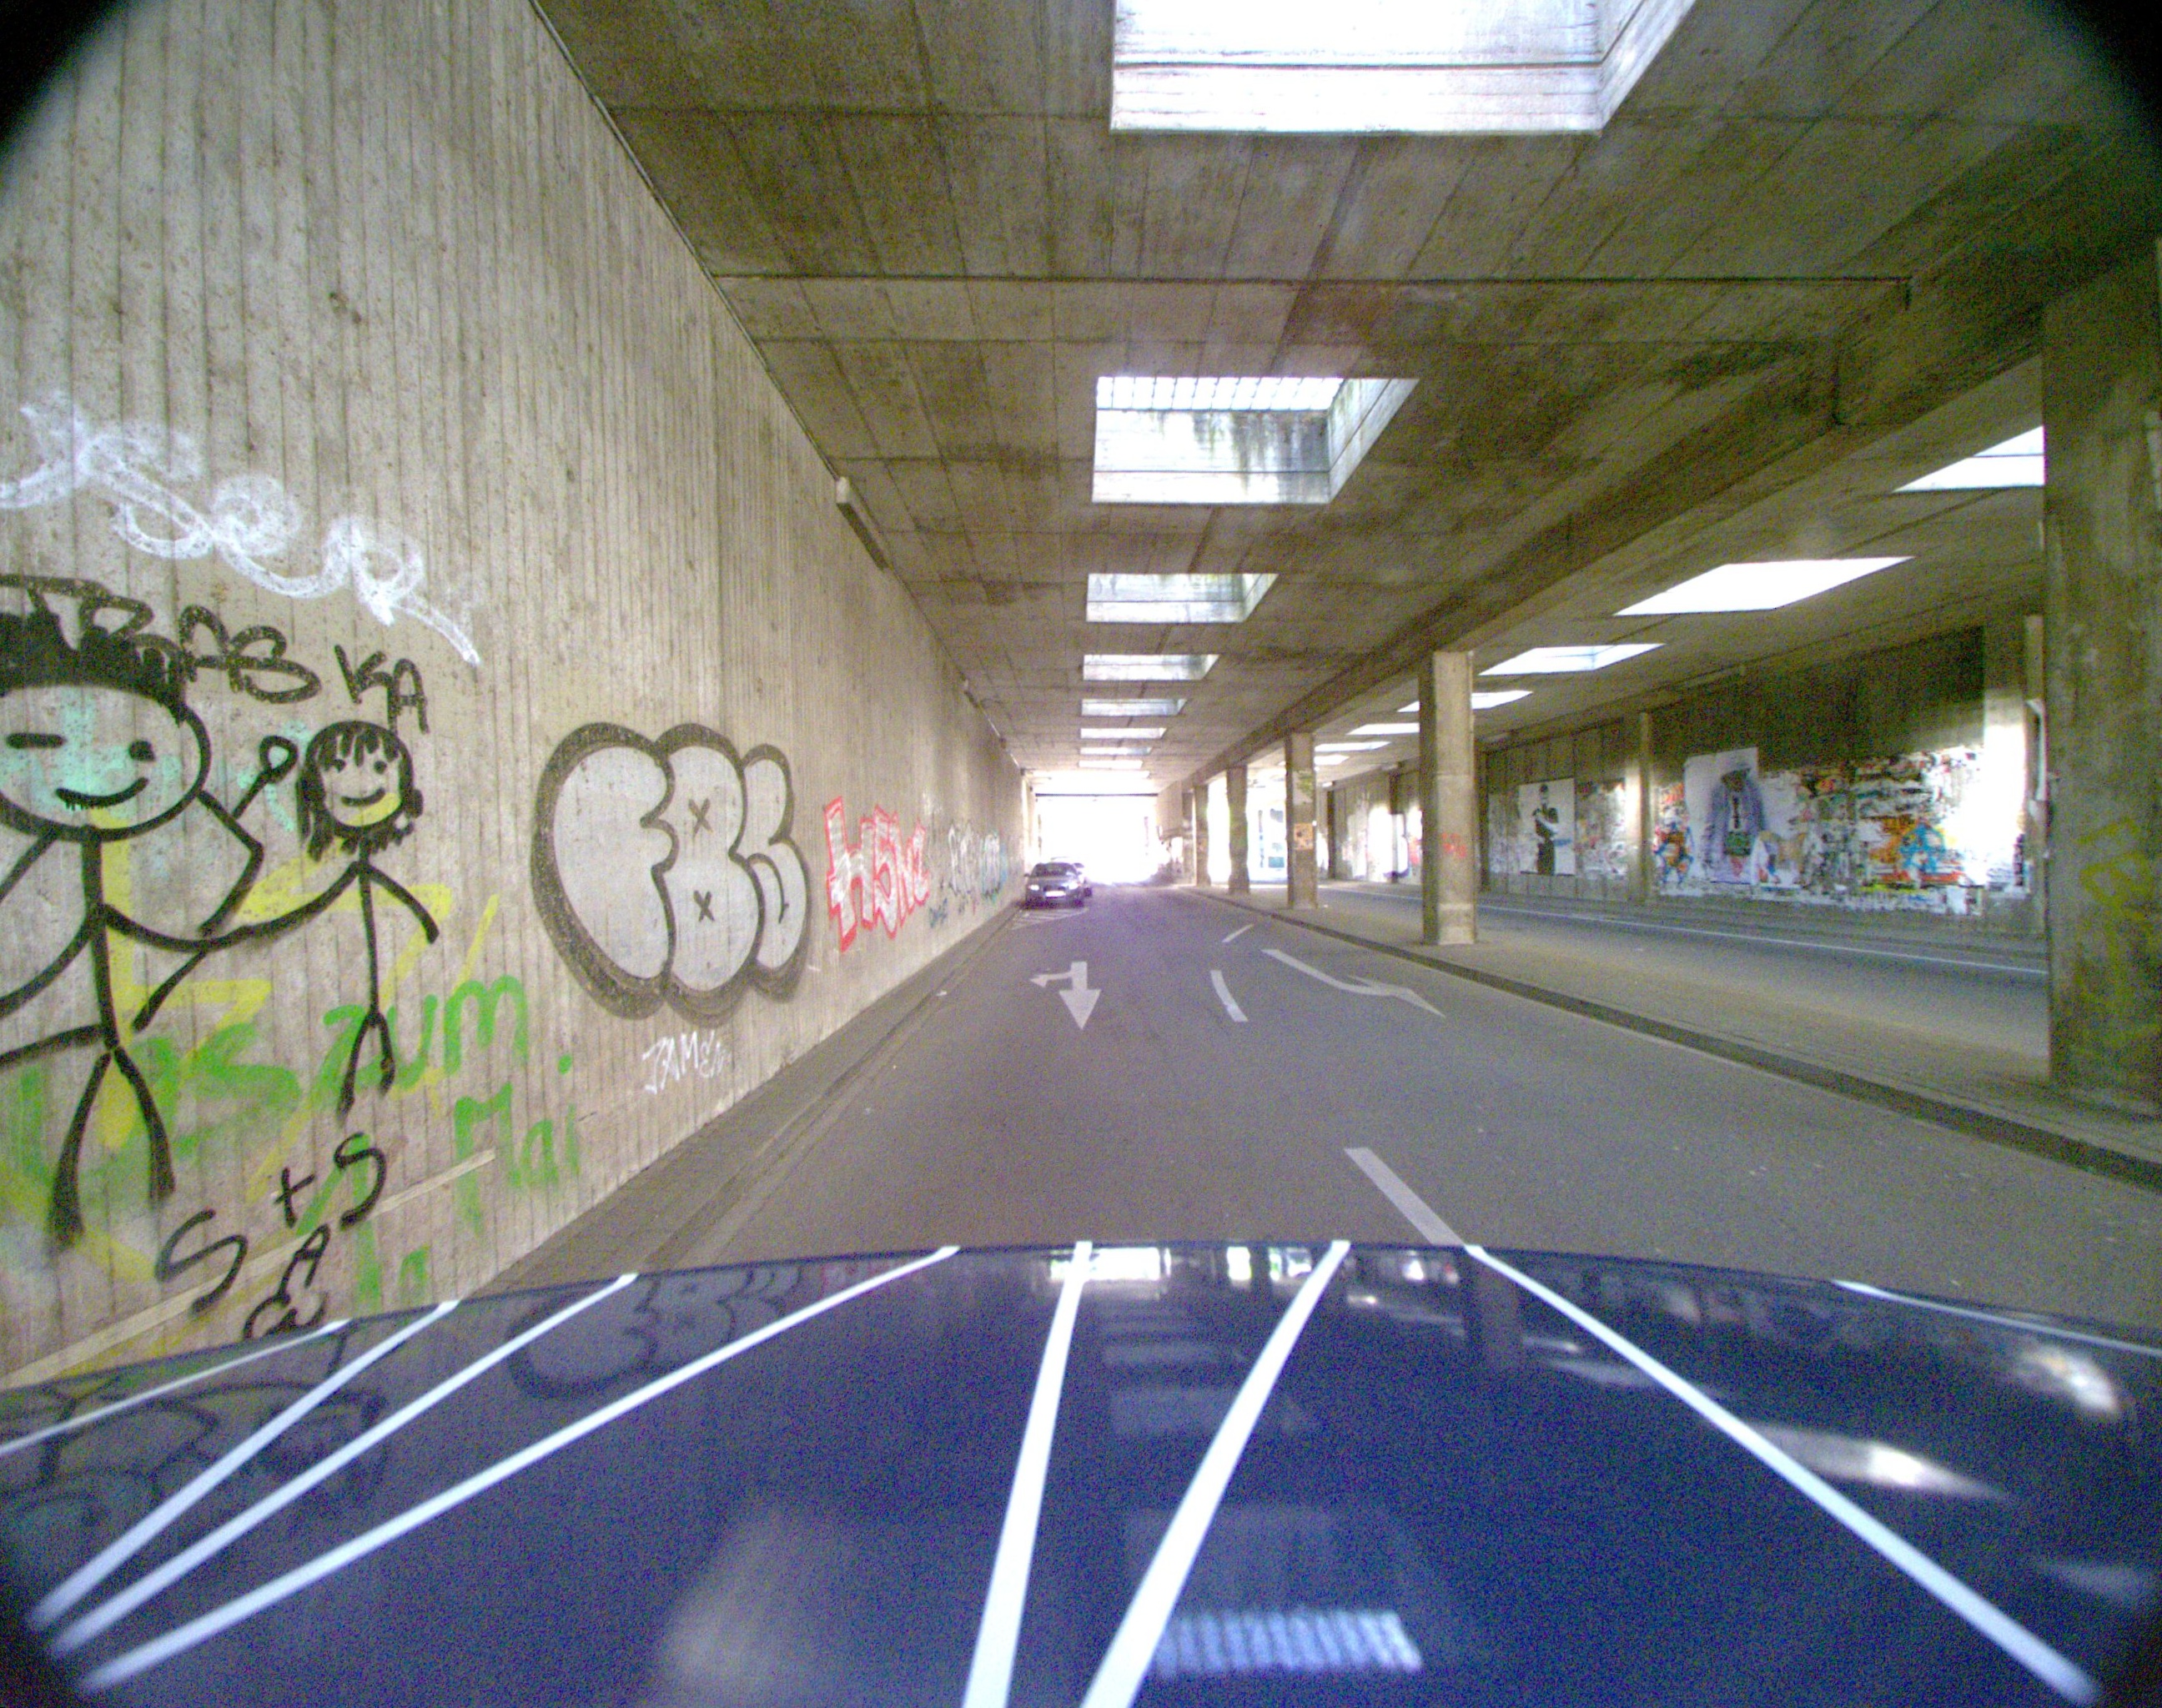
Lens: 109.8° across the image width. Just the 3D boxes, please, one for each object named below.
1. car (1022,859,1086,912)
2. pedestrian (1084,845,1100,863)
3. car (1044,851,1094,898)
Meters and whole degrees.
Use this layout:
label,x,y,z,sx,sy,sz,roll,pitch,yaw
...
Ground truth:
label,x,y,z,sx,sy,sz,roll,pitch,yaw
car,-0.775,0.922,23.972,1.767,1.407,3.999,-2,1,1
pedestrian,1.246,0.015,89.026,1.217,2.002,1.486,-3,1,-30
car,-0.493,0.757,29.809,1.767,1.634,3.999,-2,1,-2
